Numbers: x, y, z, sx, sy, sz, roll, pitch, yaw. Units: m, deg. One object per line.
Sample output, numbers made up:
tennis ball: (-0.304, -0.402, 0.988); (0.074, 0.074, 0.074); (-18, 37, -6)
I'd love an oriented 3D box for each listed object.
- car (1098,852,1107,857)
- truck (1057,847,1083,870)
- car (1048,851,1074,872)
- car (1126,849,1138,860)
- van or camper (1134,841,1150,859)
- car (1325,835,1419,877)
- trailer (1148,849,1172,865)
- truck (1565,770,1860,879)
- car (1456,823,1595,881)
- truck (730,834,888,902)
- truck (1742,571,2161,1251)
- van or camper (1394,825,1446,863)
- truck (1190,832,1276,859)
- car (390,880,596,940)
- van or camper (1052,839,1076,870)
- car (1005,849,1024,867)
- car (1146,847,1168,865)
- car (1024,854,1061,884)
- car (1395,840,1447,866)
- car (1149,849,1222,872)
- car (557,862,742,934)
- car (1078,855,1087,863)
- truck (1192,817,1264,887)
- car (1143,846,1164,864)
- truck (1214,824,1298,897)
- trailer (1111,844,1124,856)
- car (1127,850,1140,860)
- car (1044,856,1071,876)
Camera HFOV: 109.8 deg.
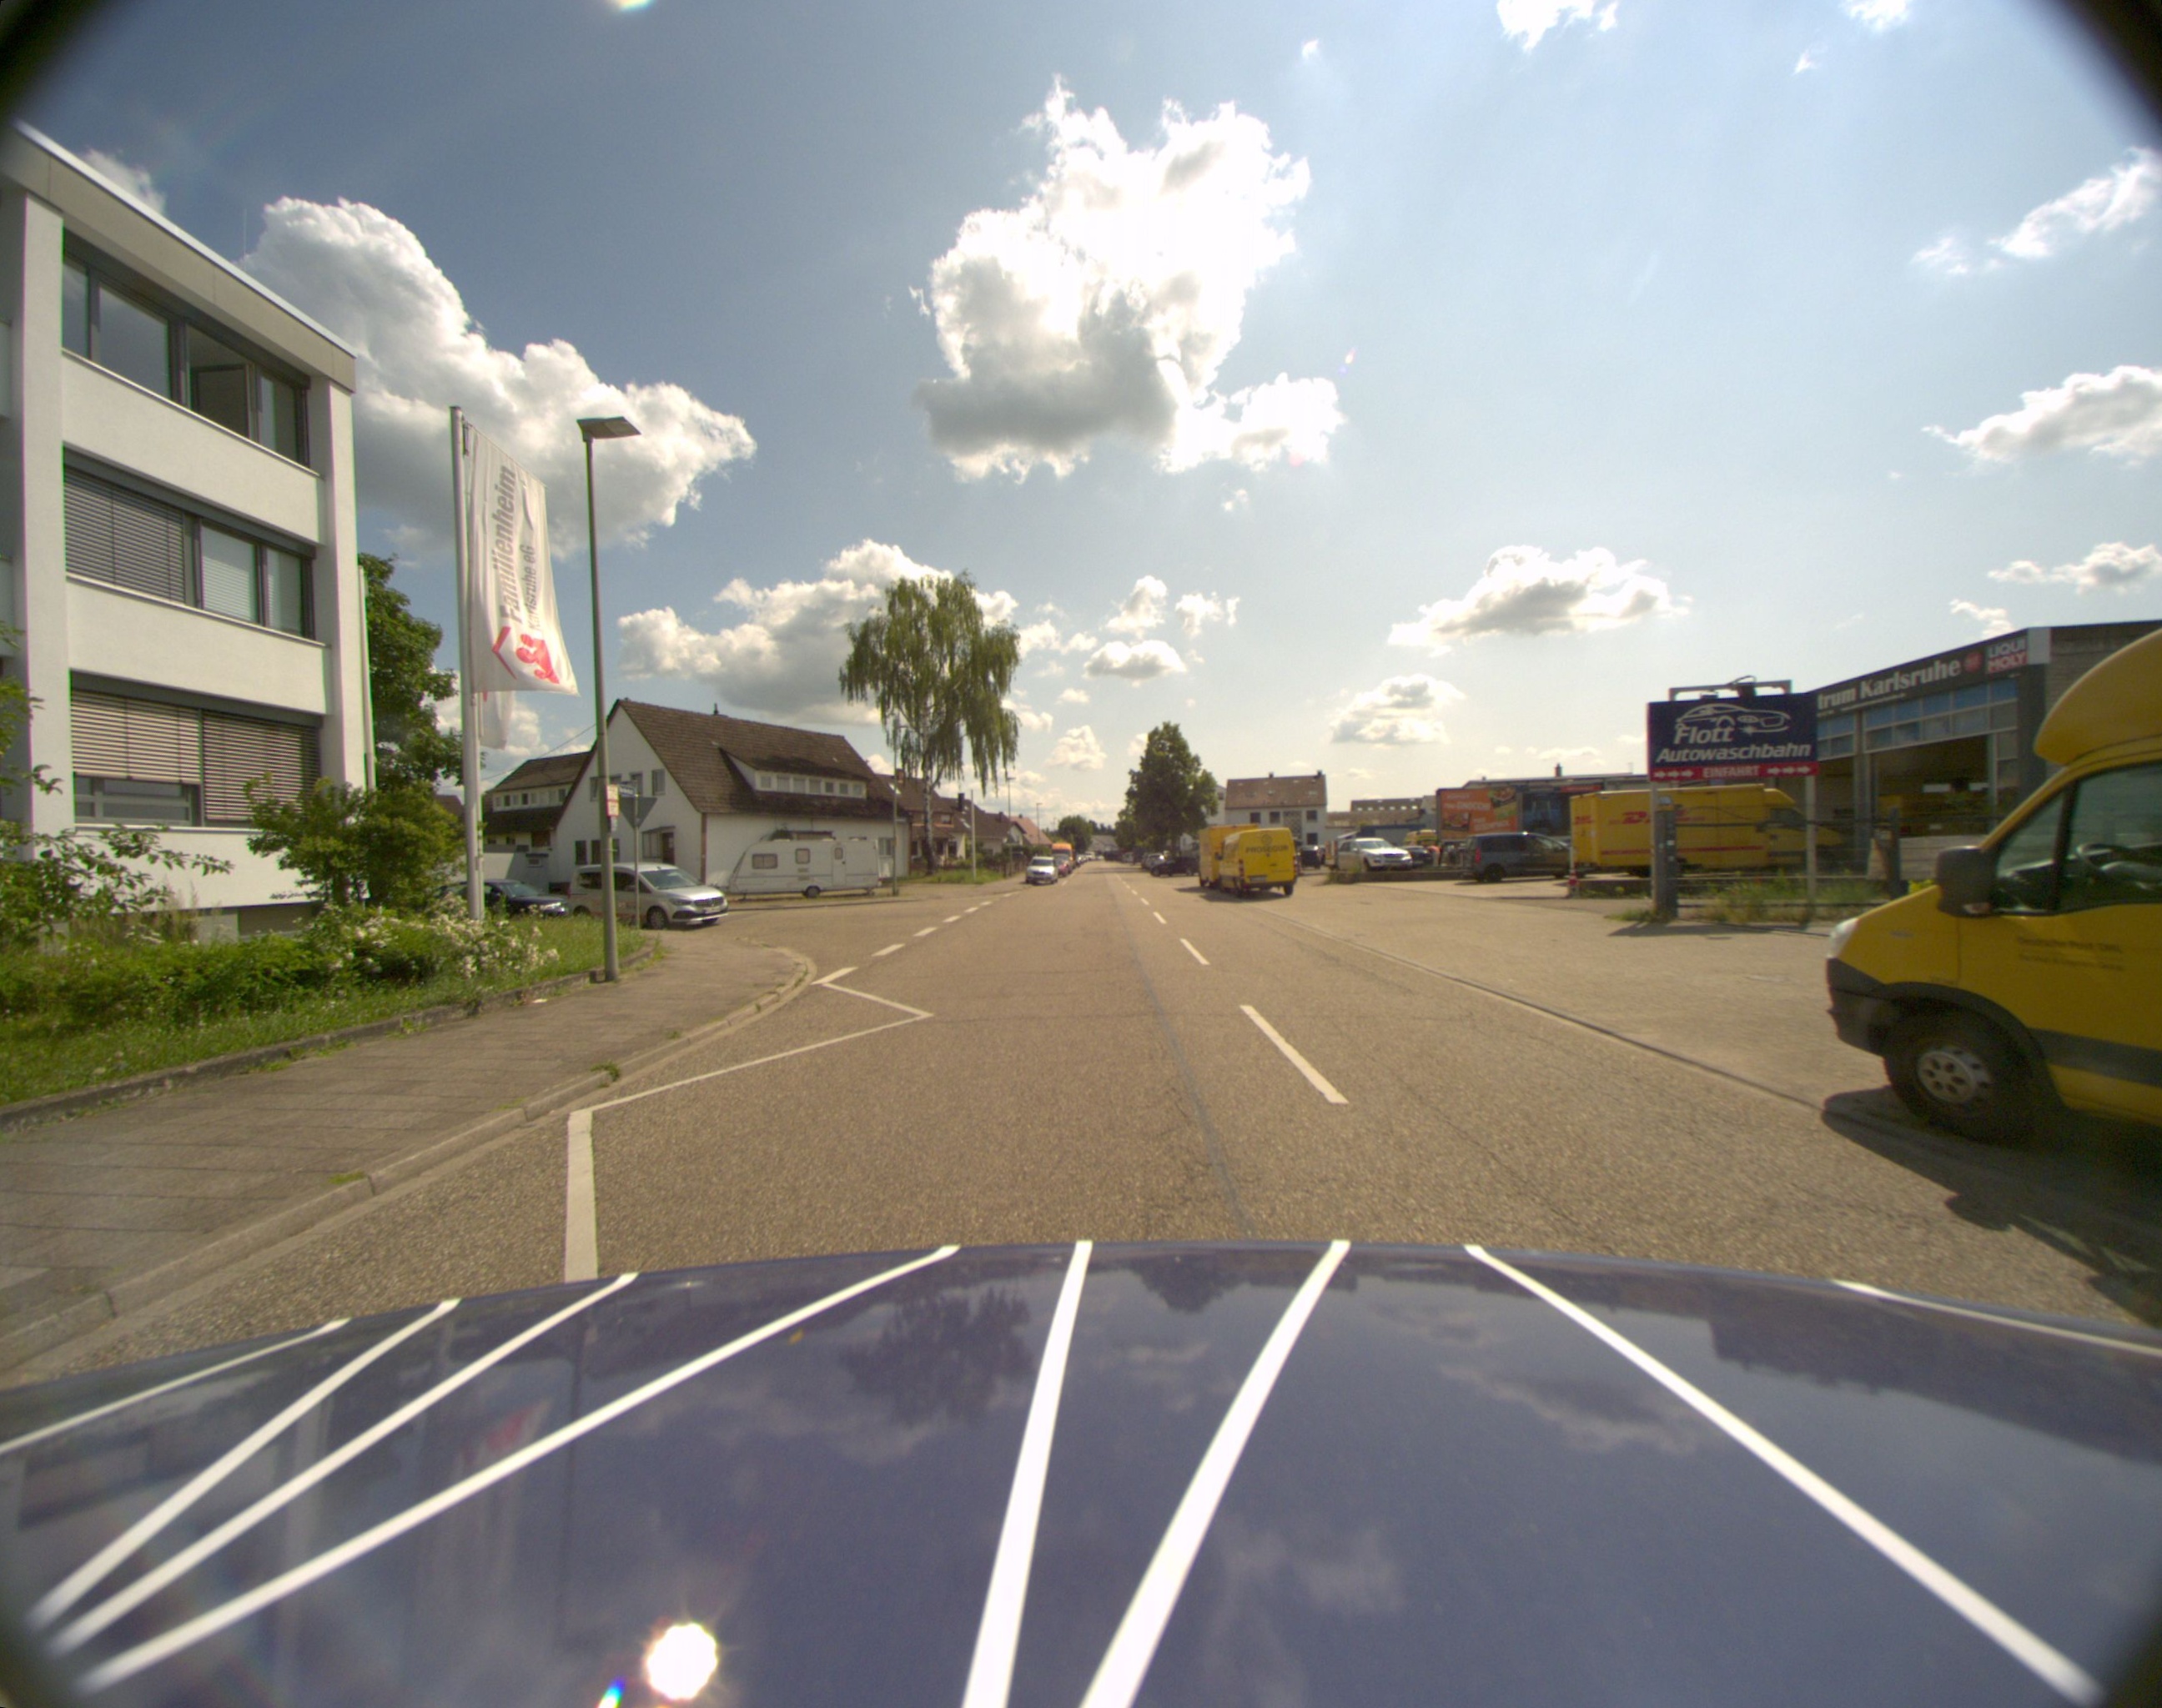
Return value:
car: (5.720, 0.106, 204.606); (1.818, 1.513, 4.268); (0, 0, 9)
truck: (-1.140, 0.434, 84.475); (2.528, 2.286, 5.895); (-3, 0, 2)
car: (-1.609, 0.566, 62.176); (1.837, 1.630, 4.239); (-1, 0, 1)
car: (9.134, 0.151, 136.398); (1.814, 1.795, 4.491); (-5, 0, 1)
van or camper: (8.558, -0.525, 106.995); (1.998, 2.303, 5.935); (-5, 0, 4)
car: (12.596, 0.065, 33.233); (1.834, 1.695, 4.704); (-1, 0, -7)
trailer: (7.110, 0.279, 68.889); (1.766, 1.282, 4.508); (-5, 0, 2)
truck: (19.545, -0.836, 23.974); (6.608, 2.833, 2.531); (-3, 0, 14)
car: (16.116, -0.065, 27.758); (3.935, 1.799, 1.857); (-4, 0, 11)
truck: (-11.643, 0.523, 32.516); (6.066, 2.562, 2.561); (-2, 1, -25)
truck: (5.608, 0.234, 1.561); (2.274, 2.838, 7.173); (-3, 1, 1)
van or camper: (23.852, -0.640, 53.661); (1.997, 2.460, 5.365); (-2, 0, 9)
truck: (17.101, -0.916, 86.142); (9.277, 2.839, 2.721); (-1, 0, 6)
car: (-16.931, 1.590, 22.005); (4.623, 1.420, 1.759); (-2, 2, 3)
van or camper: (-1.485, 0.018, 67.630); (1.999, 2.648, 5.768); (-1, 0, 0)
car: (-7.348, 0.411, 84.430); (1.862, 1.855, 5.018); (-1, 0, -3)
car: (7.375, 0.181, 73.648); (1.837, 1.519, 4.237); (-3, 0, 3)
car: (-2.190, 0.832, 44.113); (1.614, 1.571, 4.000); (-3, 0, 3)
car: (18.454, -0.039, 41.403); (1.895, 1.282, 3.754); (-2, -1, 13)
car: (7.246, 0.475, 52.722); (4.581, 1.386, 2.004); (-3, 1, 39)
car: (-11.742, 1.162, 20.709); (4.400, 1.742, 1.867); (-1, 2, 20)
car: (0.392, 1.011, 160.576); (1.896, 1.763, 4.709); (-1, 0, 1)
truck: (6.693, -0.112, 35.440); (2.225, 2.840, 7.070); (-3, 0, 3)
car: (7.518, 0.056, 79.027); (1.697, 1.690, 4.400); (-4, 0, 1)
truck: (6.378, 0.190, 28.410); (1.998, 2.399, 6.065); (-1, 0, 3)
trailer: (9.829, -1.082, 202.748); (2.841, 3.051, 8.888); (-1, 0, -1)
car: (9.048, 0.148, 130.580); (1.753, 1.452, 4.709); (-5, -1, -1)
car: (-1.686, 0.860, 55.465); (1.673, 1.327, 4.438); (-2, 0, 1)
